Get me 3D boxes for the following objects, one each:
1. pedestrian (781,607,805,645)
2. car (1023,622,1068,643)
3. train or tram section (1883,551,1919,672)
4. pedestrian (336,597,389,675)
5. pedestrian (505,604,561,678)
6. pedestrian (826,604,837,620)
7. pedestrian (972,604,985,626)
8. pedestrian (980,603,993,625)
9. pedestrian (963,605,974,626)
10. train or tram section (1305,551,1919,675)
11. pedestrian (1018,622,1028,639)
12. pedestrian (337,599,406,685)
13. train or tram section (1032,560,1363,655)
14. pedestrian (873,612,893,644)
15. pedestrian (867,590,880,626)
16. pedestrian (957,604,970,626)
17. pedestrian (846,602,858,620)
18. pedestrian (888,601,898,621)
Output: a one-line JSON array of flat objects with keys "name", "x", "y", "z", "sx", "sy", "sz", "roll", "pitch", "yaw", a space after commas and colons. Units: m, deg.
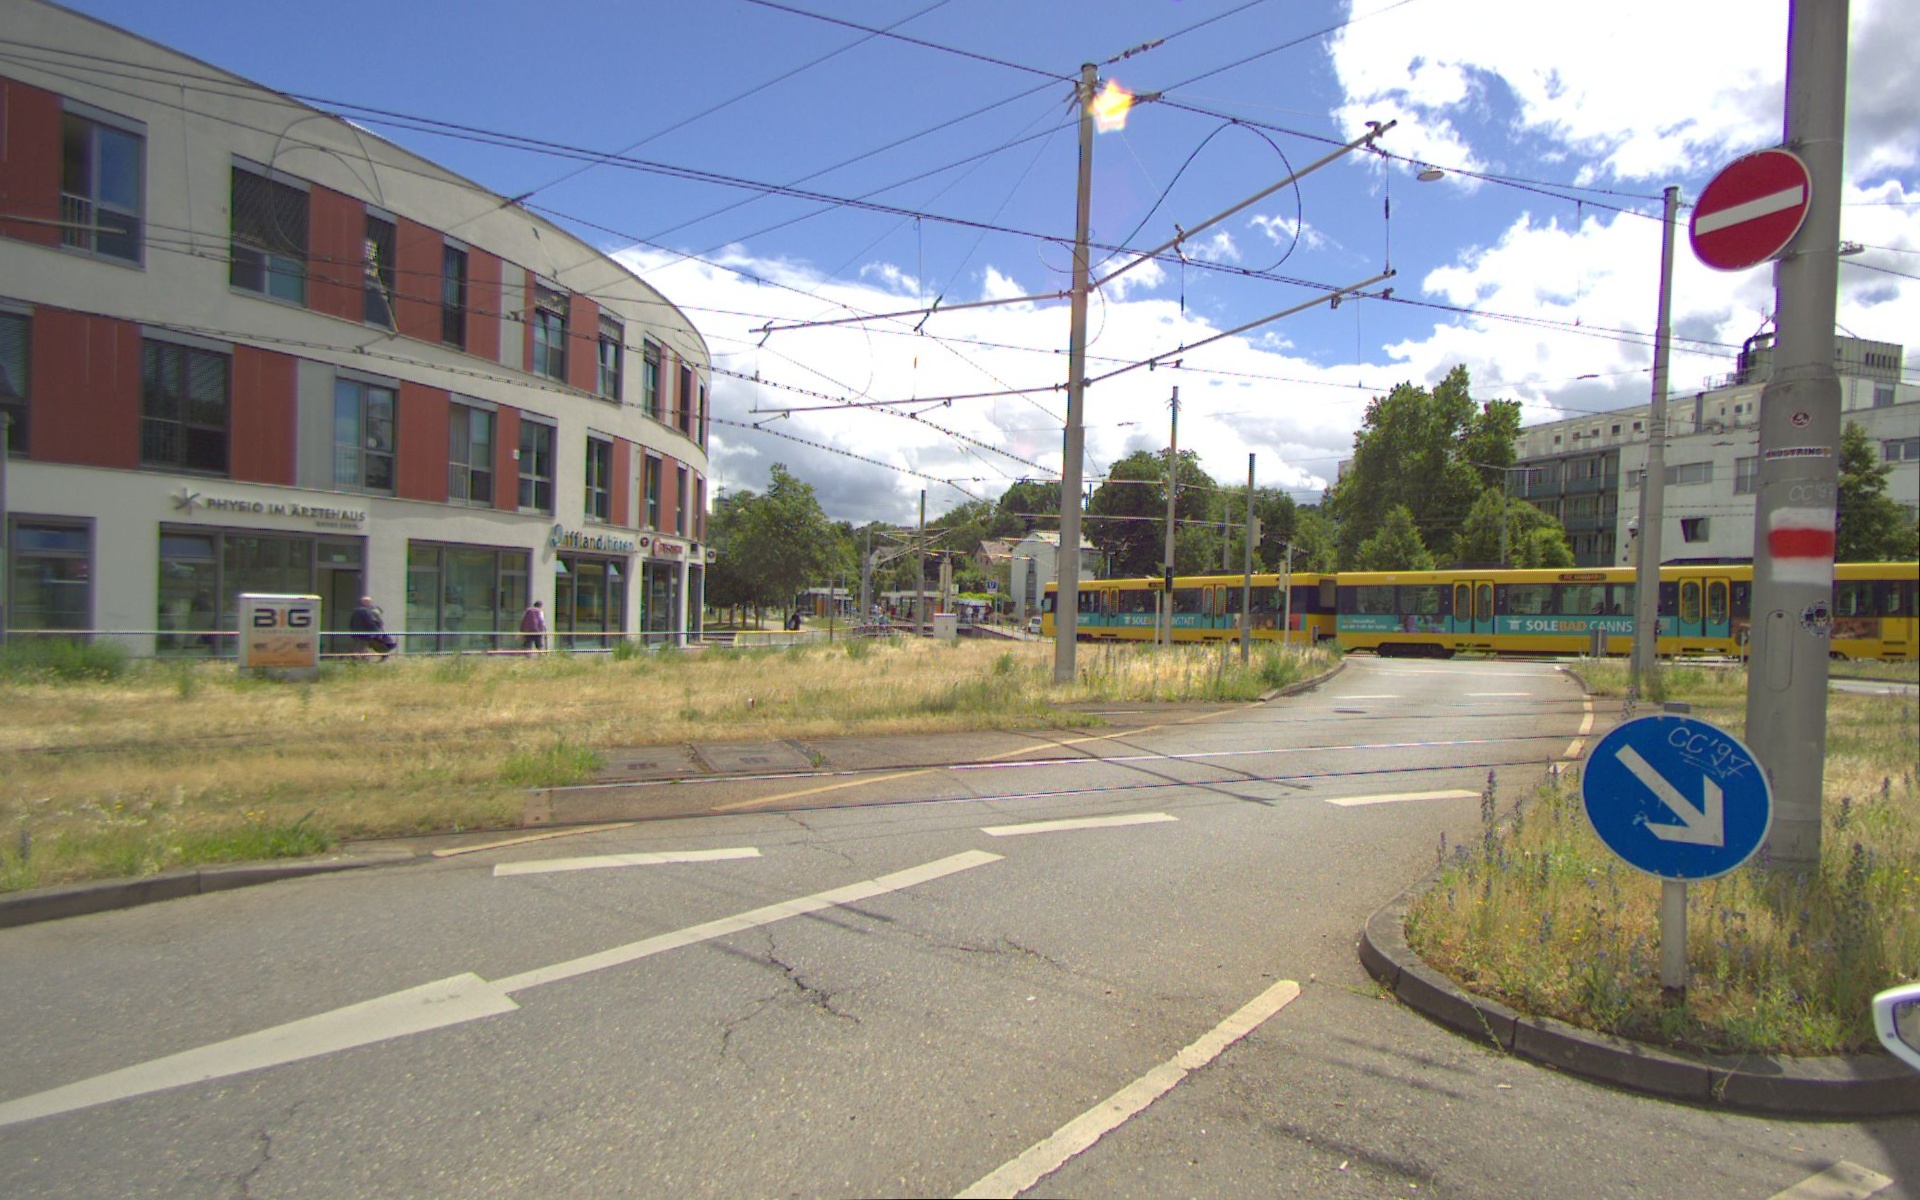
[{"name": "pedestrian", "x": -7.469, "y": 1.163, "z": 44.962, "sx": 0.847, "sy": 1.646, "sz": 0.733, "roll": 1, "pitch": -1, "yaw": 7}, {"name": "car", "x": 6.794, "y": 2.595, "z": 80.361, "sx": 1.908, "sy": 1.575, "sz": 4.474, "roll": 2, "pitch": -2, "yaw": -18}, {"name": "train or tram section", "x": 41.074, "y": 0.563, "z": 30.516, "sx": 20.216, "sy": 3.930, "sz": 3.764, "roll": 1, "pitch": -1, "yaw": 11}, {"name": "pedestrian", "x": -12.683, "y": 0.751, "z": 21.320, "sx": 0.722, "sy": 1.601, "sz": 0.690, "roll": 0, "pitch": -1, "yaw": 31}, {"name": "pedestrian", "x": -11.919, "y": 1.131, "z": 28.032, "sx": 0.849, "sy": 1.994, "sz": 1.104, "roll": 1, "pitch": -1, "yaw": 30}, {"name": "pedestrian", "x": -17.098, "y": 1.597, "z": 133.743, "sx": 1.241, "sy": 2.040, "sz": 1.121, "roll": 2, "pitch": -1, "yaw": -19}, {"name": "pedestrian", "x": 1.479, "y": 1.229, "z": 81.049, "sx": 0.824, "sy": 1.755, "sz": 0.795, "roll": 1, "pitch": 0, "yaw": -16}, {"name": "pedestrian", "x": 2.088, "y": 1.125, "z": 79.678, "sx": 0.824, "sy": 1.714, "sz": 0.616, "roll": 1, "pitch": 0, "yaw": -16}, {"name": "pedestrian", "x": 0.725, "y": 1.274, "z": 82.491, "sx": 0.744, "sy": 1.707, "sz": 0.671, "roll": 1, "pitch": 0, "yaw": -16}, {"name": "train or tram section", "x": 23.662, "y": 0.409, "z": 37.939, "sx": 19.808, "sy": 3.880, "sz": 3.751, "roll": 0, "pitch": -2, "yaw": 34}, {"name": "pedestrian", "x": 7.142, "y": 3.460, "z": 113.763, "sx": 0.818, "sy": 1.891, "sz": 0.817, "roll": 1, "pitch": 0, "yaw": -16}, {"name": "pedestrian", "x": -14.074, "y": 0.985, "z": 24.038, "sx": 0.849, "sy": 1.994, "sz": 1.114, "roll": 1, "pitch": -1, "yaw": 29}, {"name": "train or tram section", "x": 10.958, "y": 0.455, "z": 50.898, "sx": 3.724, "sy": 3.970, "sz": 18.714, "roll": 2, "pitch": -2, "yaw": -34}, {"name": "pedestrian", "x": -3.998, "y": 1.451, "z": 52.160, "sx": 1.016, "sy": 1.646, "sz": 0.984, "roll": 1, "pitch": -1, "yaw": -5}, {"name": "pedestrian", "x": -14.937, "y": 1.386, "z": 173.215, "sx": 1.964, "sy": 5.998, "sz": 2.368, "roll": 2, "pitch": -1, "yaw": -9}, {"name": "pedestrian", "x": 0.306, "y": 1.208, "z": 81.759, "sx": 0.824, "sy": 1.777, "sz": 0.795, "roll": 1, "pitch": 0, "yaw": -16}, {"name": "pedestrian", "x": -12.962, "y": 1.333, "z": 120.404, "sx": 1.241, "sy": 2.040, "sz": 1.121, "roll": 2, "pitch": -1, "yaw": -19}, {"name": "pedestrian", "x": -6.838, "y": 1.096, "z": 102.697, "sx": 0.807, "sy": 2.040, "sz": 0.771, "roll": 2, "pitch": -1, "yaw": -15}]
